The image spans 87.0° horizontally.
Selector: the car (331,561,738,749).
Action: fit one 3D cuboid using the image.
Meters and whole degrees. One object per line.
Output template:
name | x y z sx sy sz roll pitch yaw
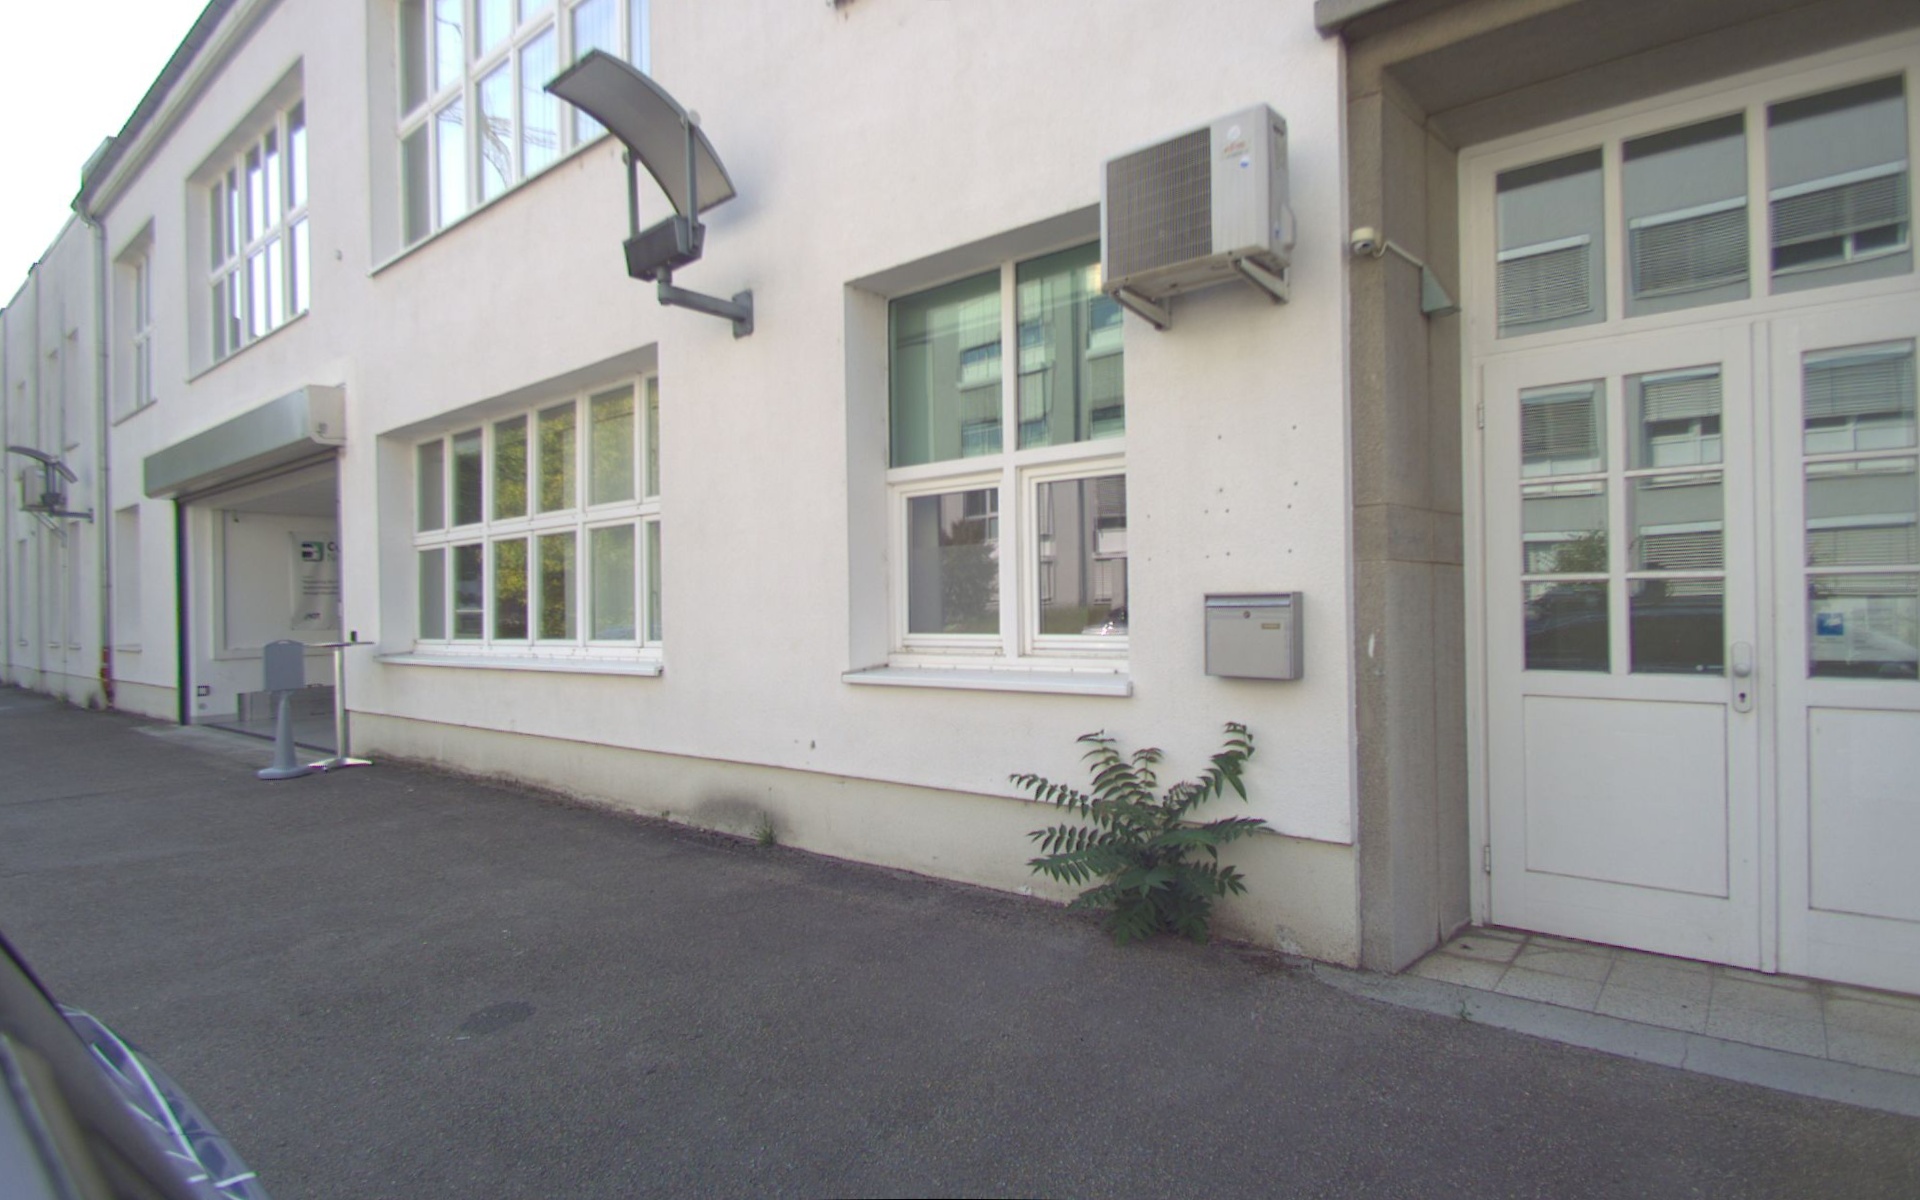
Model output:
car | -5.580 0.588 13.826 2.054 2.108 4.699 -1 0 40
